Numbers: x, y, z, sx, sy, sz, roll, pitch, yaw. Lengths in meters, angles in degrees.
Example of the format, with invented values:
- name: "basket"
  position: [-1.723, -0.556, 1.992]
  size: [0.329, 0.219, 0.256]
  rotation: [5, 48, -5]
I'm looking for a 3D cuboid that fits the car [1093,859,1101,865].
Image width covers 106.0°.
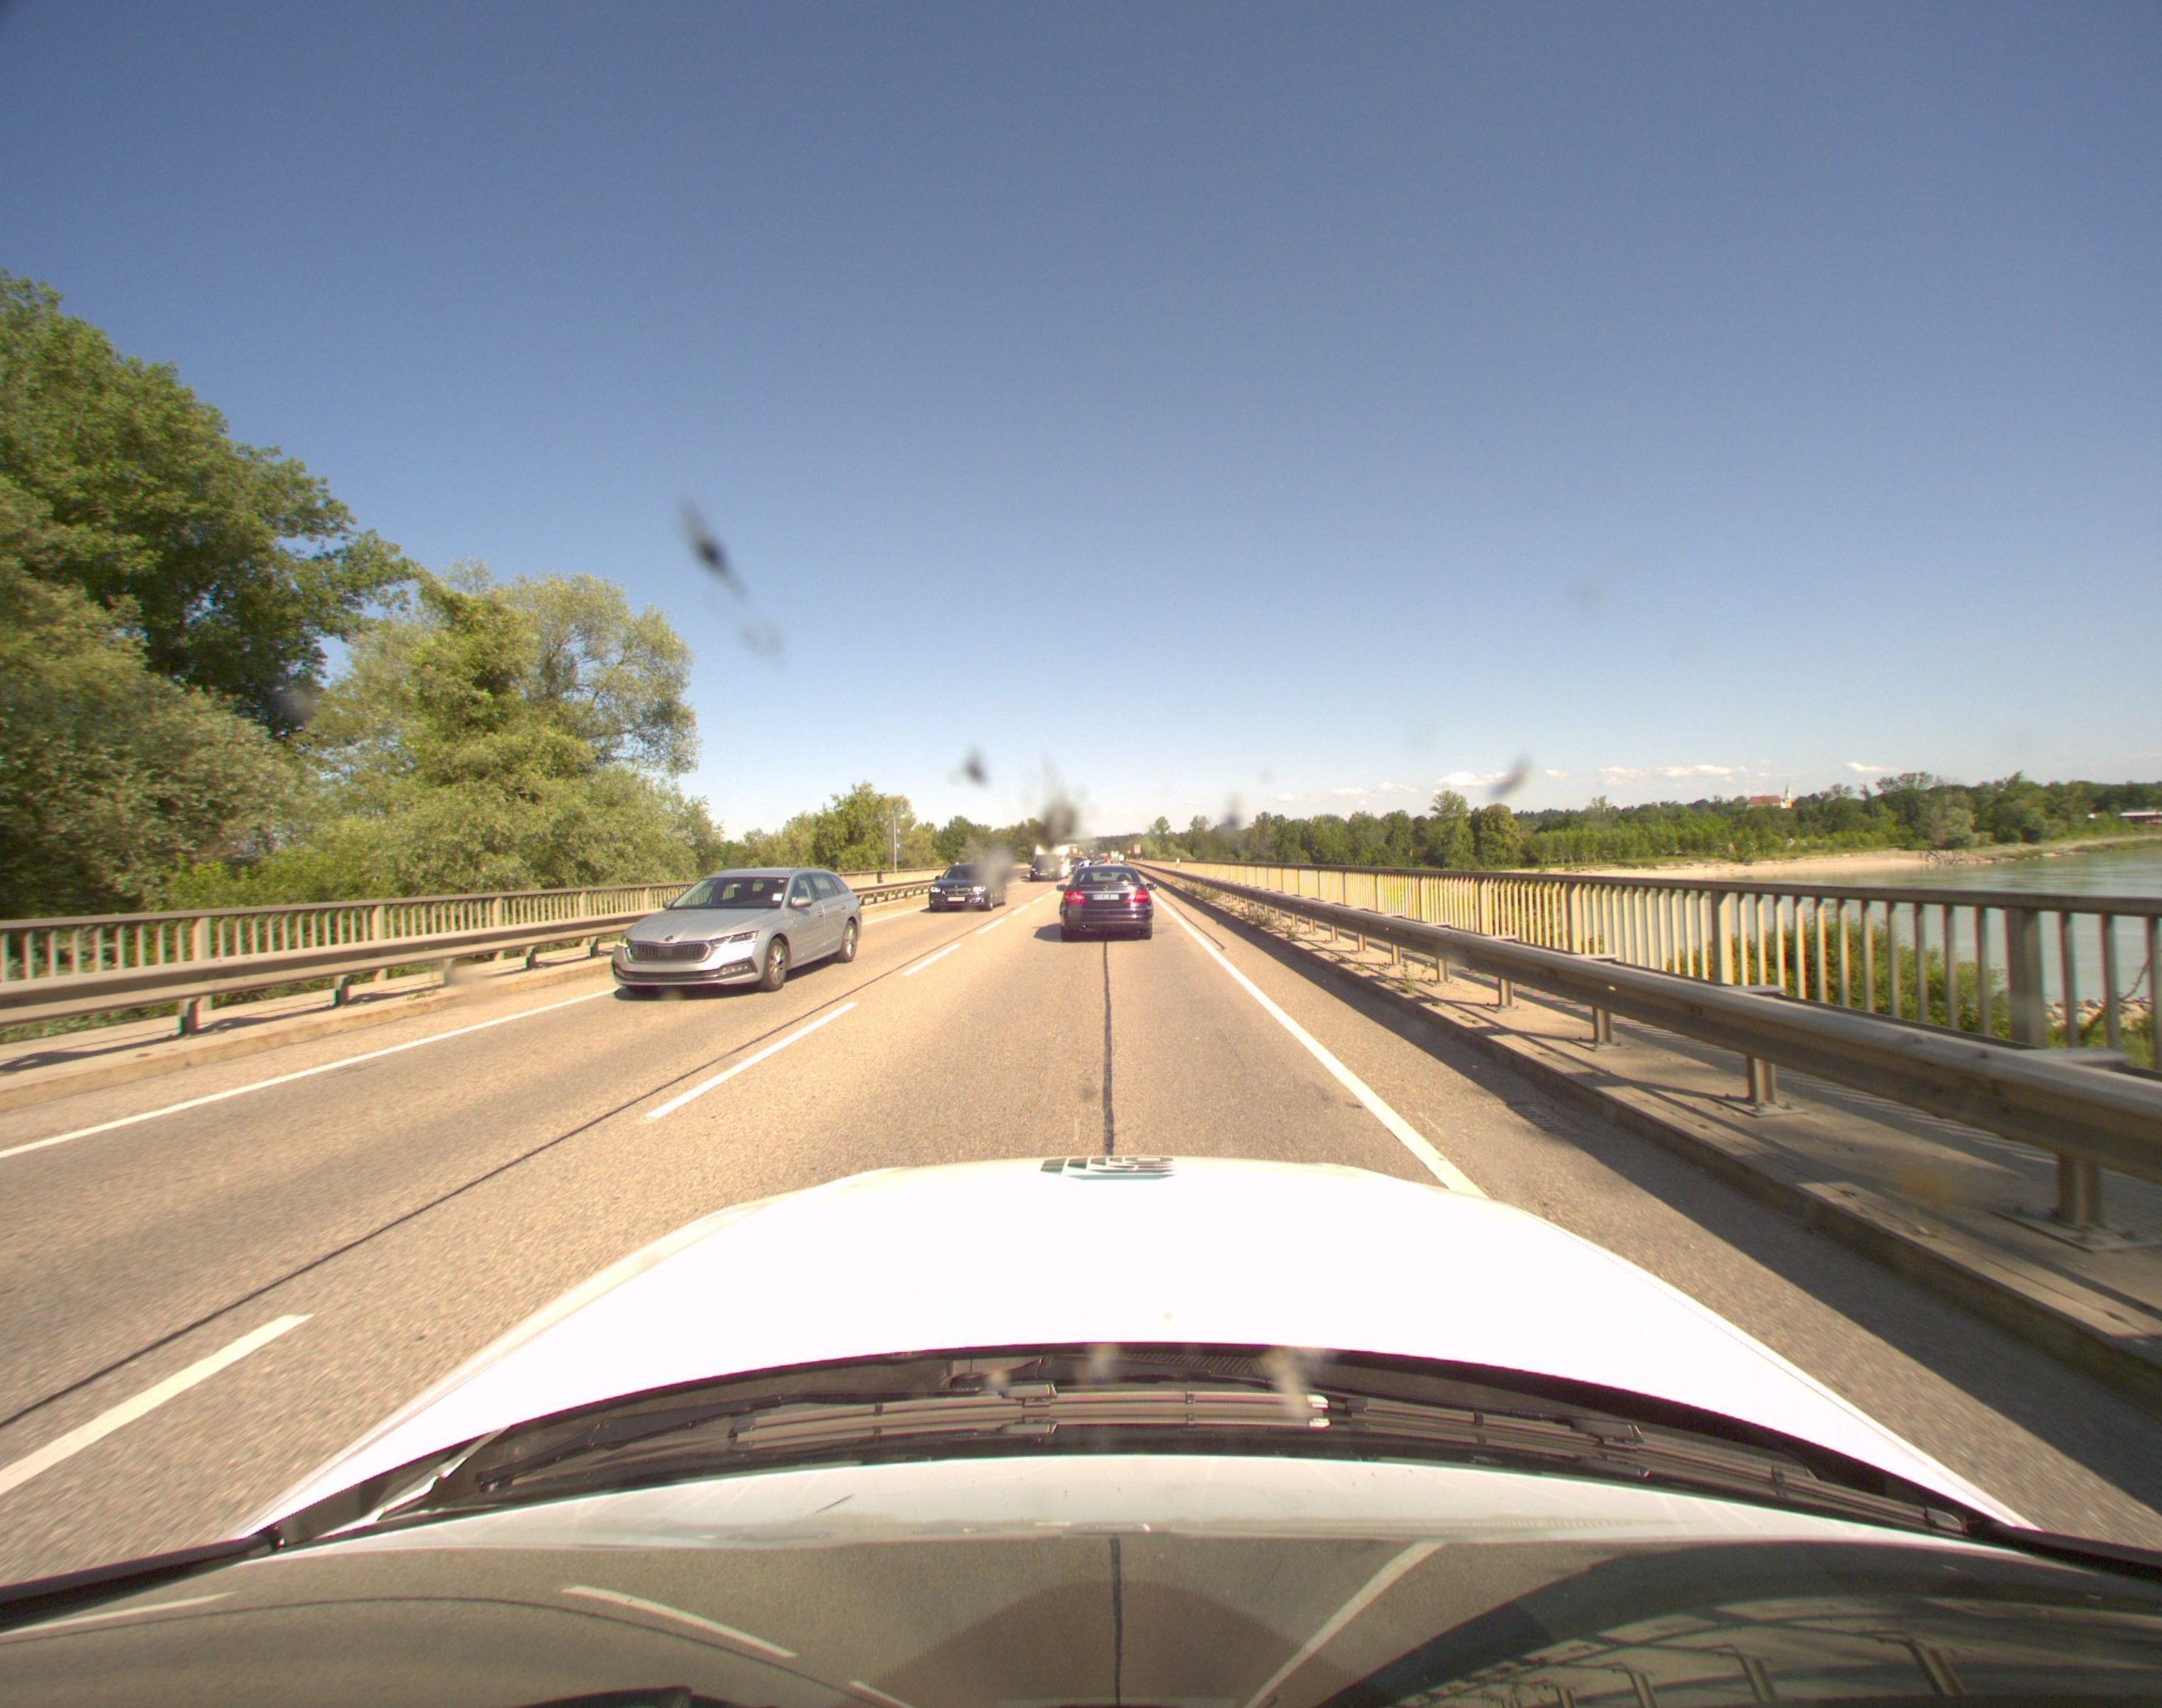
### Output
- name: "car"
  position: [4.255, 2.163, 216.354]
  size: [1.861, 1.444, 4.454]
  rotation: [6, 0, -1]

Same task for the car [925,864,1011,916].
- name: "car"
  position: [-3.444, 1.071, 25.702]
  size: [1.779, 1.420, 4.654]
  rotation: [-2, -1, 3]

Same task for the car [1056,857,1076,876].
- name: "car"
  position: [-1.382, 1.177, 77.562]
  size: [1.796, 1.661, 4.433]
  rotation: [-1, 0, 0]

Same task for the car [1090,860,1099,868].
- name: "car"
  position: [2.680, 1.900, 160.501]
  size: [1.760, 1.447, 4.456]
  rotation: [0, 0, 0]

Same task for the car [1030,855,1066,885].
- name: "car"
  position: [-2.209, 1.073, 55.854]
  size: [1.975, 1.854, 5.012]
  rotation: [-2, -1, 3]

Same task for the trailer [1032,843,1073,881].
- name: "trailer"
  position: [-2.073, 0.625, 62.318]
  size: [2.545, 2.737, 8.067]
  rotation: [0, 0, 3]

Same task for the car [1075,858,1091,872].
- name: "car"
  position: [0.252, 1.391, 102.501]
  size: [1.943, 1.694, 4.475]
  rotation: [1, 0, -1]

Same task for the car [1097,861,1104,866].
- name: "car"
  position: [5.442, 2.690, 231.488]
  size: [1.801, 1.577, 4.198]
  rotation: [-1, -1, -1]

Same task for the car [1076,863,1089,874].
- name: "car"
  position: [0.254, 2.226, 124.442]
  size: [1.977, 1.651, 4.596]
  rotation: [0, 0, -1]

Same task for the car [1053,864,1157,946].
- name: "car"
  position: [0.562, 0.913, 16.164]
  size: [1.785, 1.376, 4.004]
  rotation: [-1, -1, 4]

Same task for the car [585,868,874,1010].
- name: "car"
  position: [-4.377, 0.960, 11.042]
  size: [1.724, 1.436, 4.490]
  rotation: [-2, -1, 3]
